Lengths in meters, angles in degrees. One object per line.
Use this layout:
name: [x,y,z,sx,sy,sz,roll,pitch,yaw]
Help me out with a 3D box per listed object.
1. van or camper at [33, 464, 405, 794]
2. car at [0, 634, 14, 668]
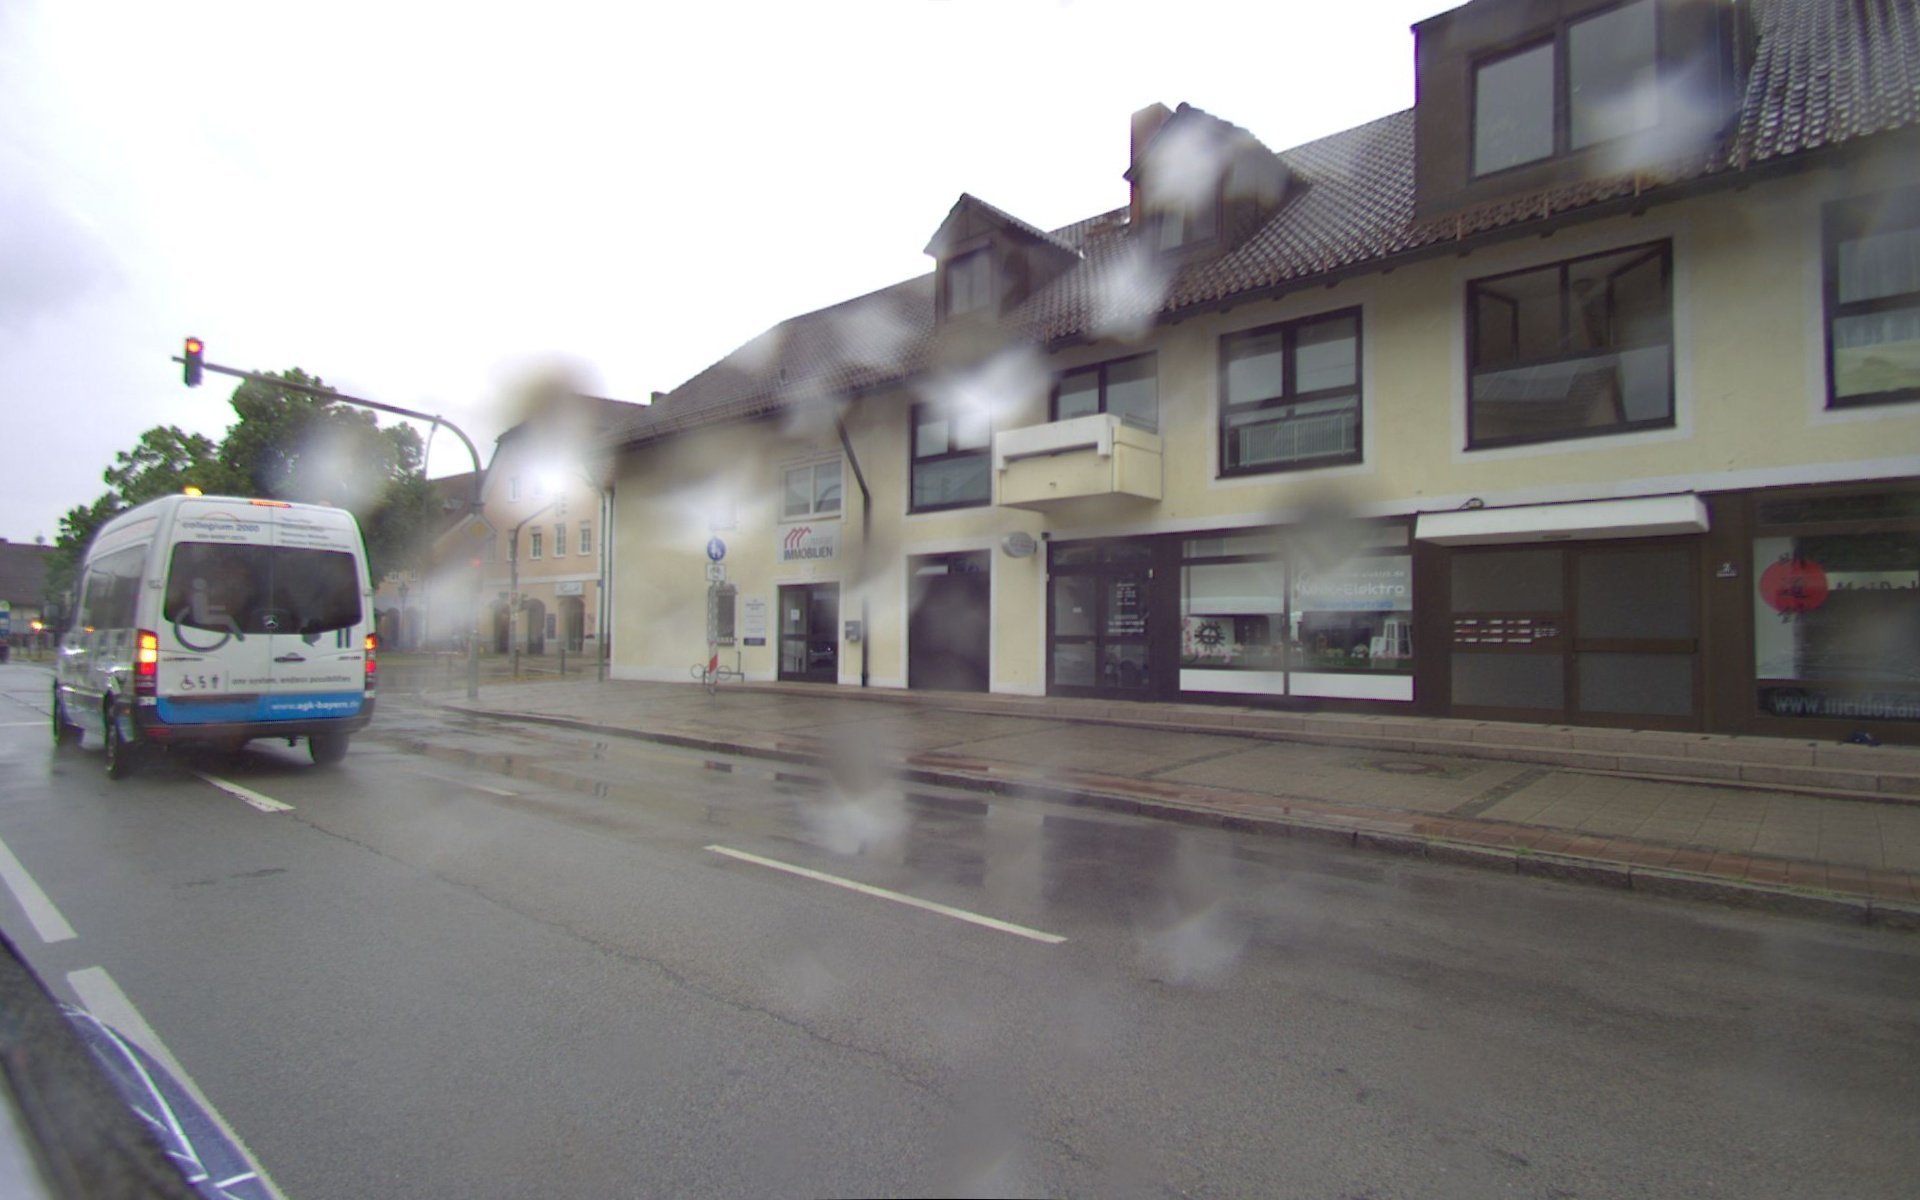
van or camper: [-8.477,0.317,11.258,6.267,2.728,2.071,-1,-3,42]
car: [-42.468,2.183,43.704,3.882,1.418,1.975,-1,-4,42]
